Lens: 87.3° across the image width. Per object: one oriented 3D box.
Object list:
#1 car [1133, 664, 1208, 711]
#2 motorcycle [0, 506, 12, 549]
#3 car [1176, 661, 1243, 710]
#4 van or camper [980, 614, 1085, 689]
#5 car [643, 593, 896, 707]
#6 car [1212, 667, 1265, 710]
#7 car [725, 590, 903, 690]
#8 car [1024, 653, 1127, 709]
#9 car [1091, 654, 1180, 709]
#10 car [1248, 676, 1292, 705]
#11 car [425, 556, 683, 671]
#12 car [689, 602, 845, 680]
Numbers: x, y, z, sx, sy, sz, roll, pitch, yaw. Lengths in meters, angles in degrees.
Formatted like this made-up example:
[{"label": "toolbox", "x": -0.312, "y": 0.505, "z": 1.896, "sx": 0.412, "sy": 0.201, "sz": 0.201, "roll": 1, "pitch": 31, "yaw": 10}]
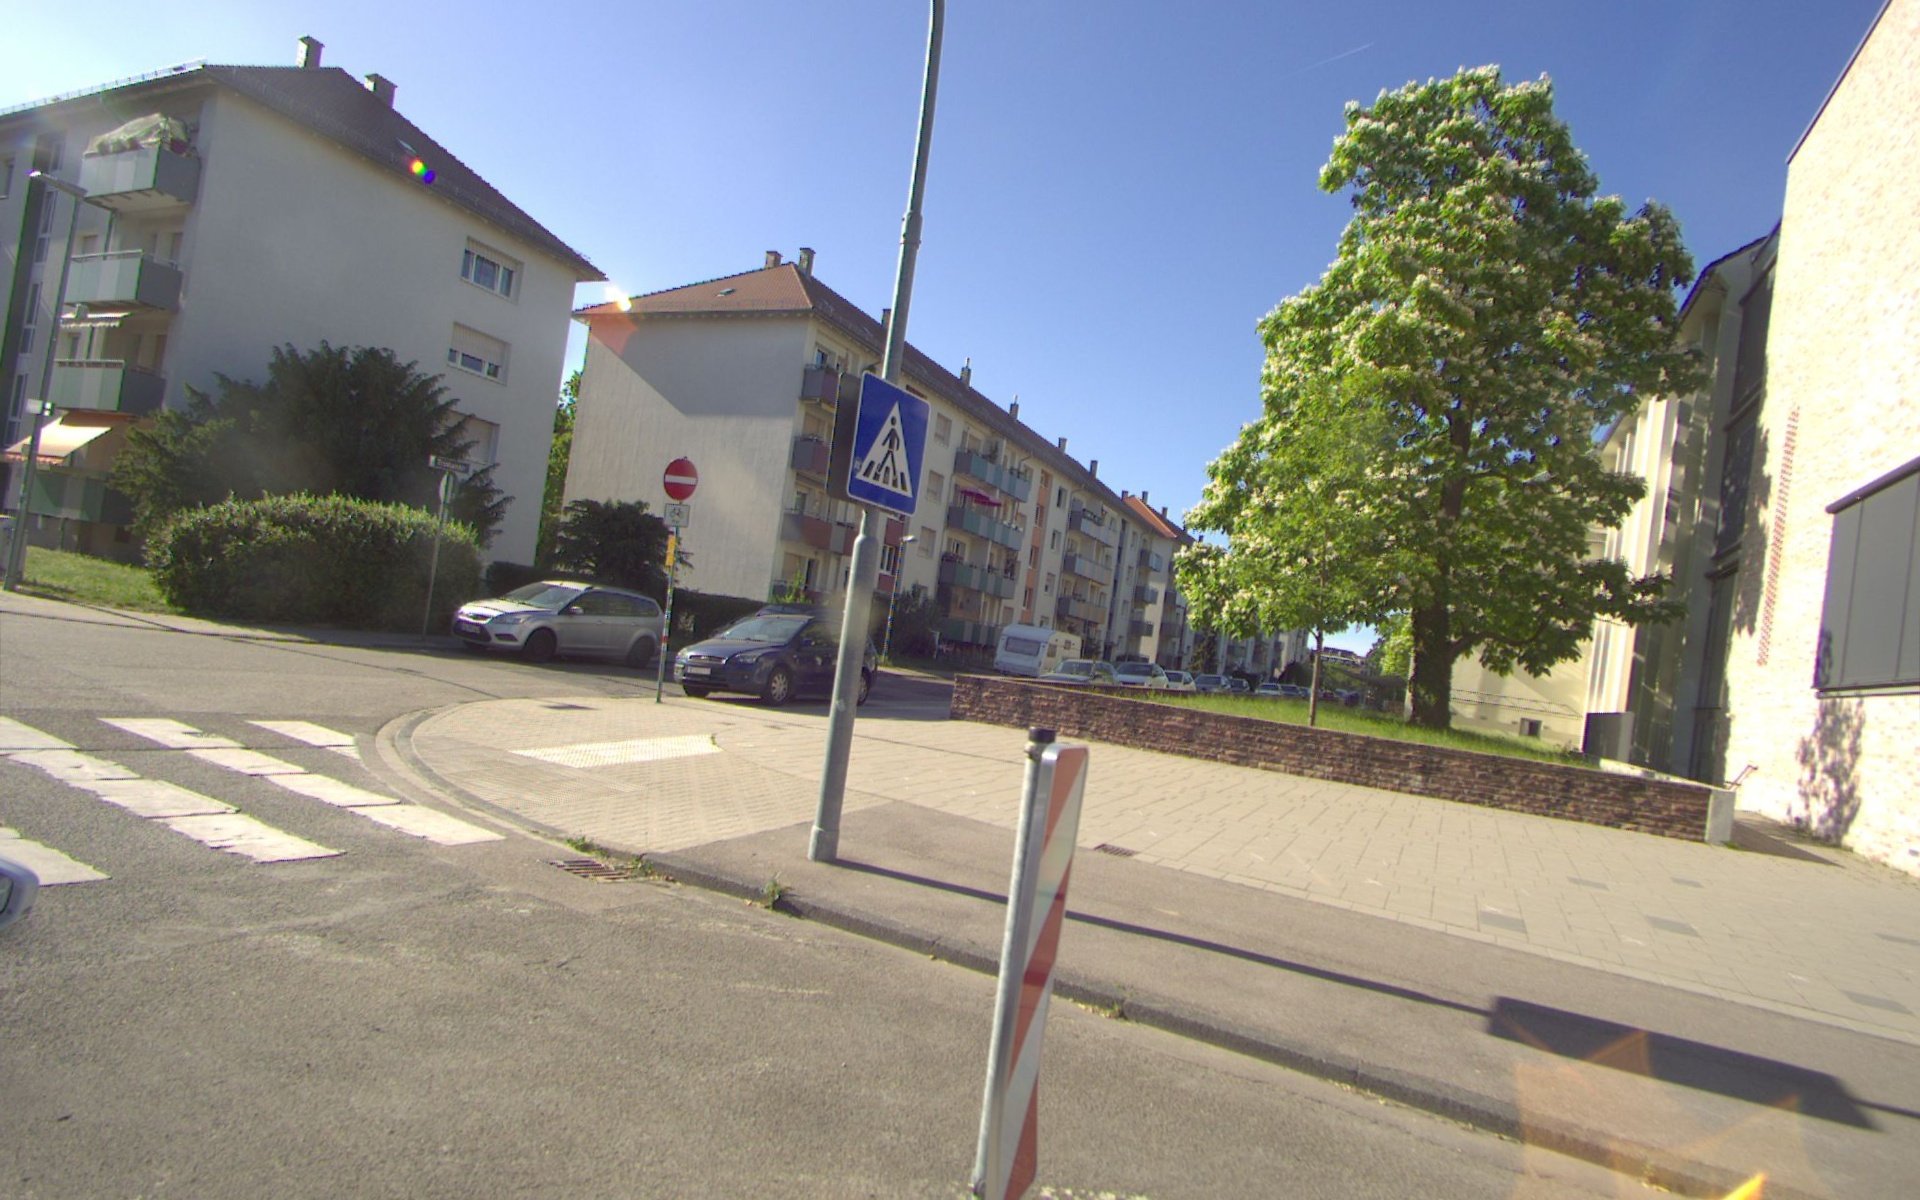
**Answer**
[{"label": "car", "x": 8.930, "y": 3.736, "z": 42.425, "sx": 1.897, "sy": 1.600, "sz": 4.562, "roll": 7, "pitch": -3, "yaw": 26}, {"label": "motorcycle", "x": -27.577, "y": -2.137, "z": 28.119, "sx": 1.999, "sy": 1.164, "sz": 0.585, "roll": 7, "pitch": -1, "yaw": 18}, {"label": "car", "x": 12.534, "y": 4.317, "z": 50.311, "sx": 1.966, "sy": 2.036, "sz": 4.560, "roll": 7, "pitch": -3, "yaw": 28}, {"label": "van or camper", "x": 3.142, "y": 2.245, "z": 42.186, "sx": 2.431, "sy": 2.566, "sz": 5.246, "roll": 7, "pitch": -2, "yaw": 25}, {"label": "car", "x": -3.062, "y": 0.948, "z": 17.293, "sx": 1.873, "sy": 1.490, "sz": 4.563, "roll": 7, "pitch": -3, "yaw": 24}, {"label": "car", "x": 15.327, "y": 4.887, "z": 55.227, "sx": 1.752, "sy": 2.036, "sz": 4.562, "roll": 7, "pitch": -3, "yaw": 26}, {"label": "car", "x": -3.249, "y": 0.996, "z": 23.310, "sx": 1.870, "sy": 1.810, "sz": 4.157, "roll": 7, "pitch": -3, "yaw": 26}, {"label": "car", "x": 3.714, "y": 2.587, "z": 31.724, "sx": 1.868, "sy": 1.497, "sz": 4.162, "roll": 3, "pitch": -4, "yaw": 26}, {"label": "car", "x": 6.684, "y": 3.106, "z": 37.921, "sx": 1.965, "sy": 1.646, "sz": 4.562, "roll": 7, "pitch": -3, "yaw": 26}, {"label": "car", "x": 20.993, "y": 6.141, "z": 67.968, "sx": 1.965, "sy": 1.594, "sz": 4.562, "roll": 7, "pitch": -3, "yaw": 26}, {"label": "car", "x": -7.659, "y": 0.353, "z": 19.505, "sx": 1.880, "sy": 1.641, "sz": 4.423, "roll": 7, "pitch": -3, "yaw": 24}, {"label": "car", "x": -4.830, "y": 1.108, "z": 25.780, "sx": 1.791, "sy": 1.528, "sz": 3.985, "roll": 7, "pitch": -3, "yaw": 25}]
